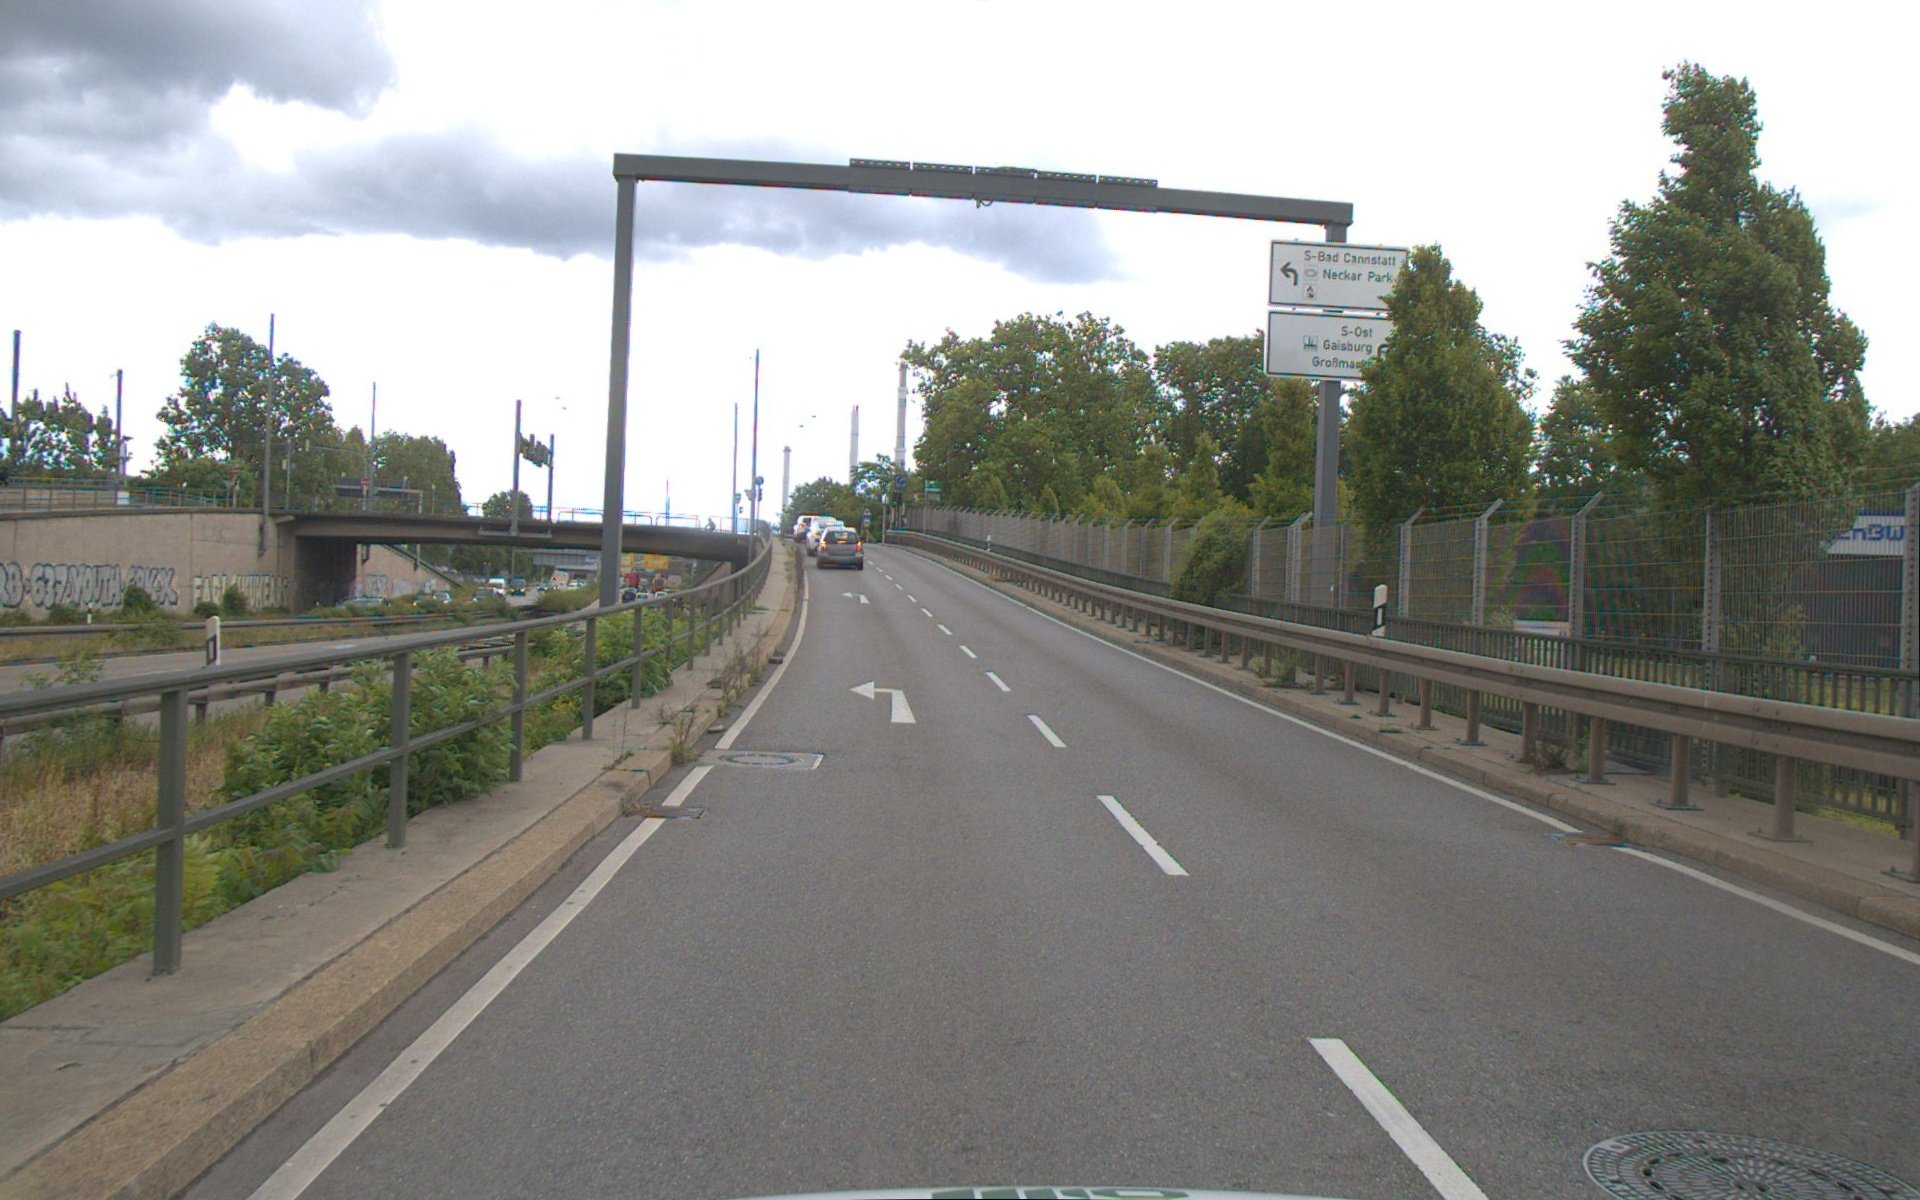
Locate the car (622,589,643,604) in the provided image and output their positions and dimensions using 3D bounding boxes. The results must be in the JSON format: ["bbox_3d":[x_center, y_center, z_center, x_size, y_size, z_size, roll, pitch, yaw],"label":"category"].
[{"bbox_3d":[-39.643,-0.455,200.175,1.954,1.713,3.998,2,1,-3],"label":"car"}]

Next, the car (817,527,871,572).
[{"bbox_3d":[-4.501,-1.939,64.631,1.714,1.608,4.085,3,0,0],"label":"car"}]

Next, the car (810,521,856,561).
[{"bbox_3d":[-5.865,-2.732,75.941,1.955,1.630,3.997,1,4,-6],"label":"car"}]

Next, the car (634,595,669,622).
[{"bbox_3d":[-18.552,0.478,99.694,1.957,1.444,3.991,2,1,-10],"label":"car"}]

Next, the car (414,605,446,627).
[{"bbox_3d":[-42.299,1.296,131.977,1.959,1.750,4.688,1,-1,-12],"label":"car"}]

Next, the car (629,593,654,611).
[{"bbox_3d":[-33.734,0.187,175.284,1.954,1.713,3.998,2,1,-3],"label":"car"}]
